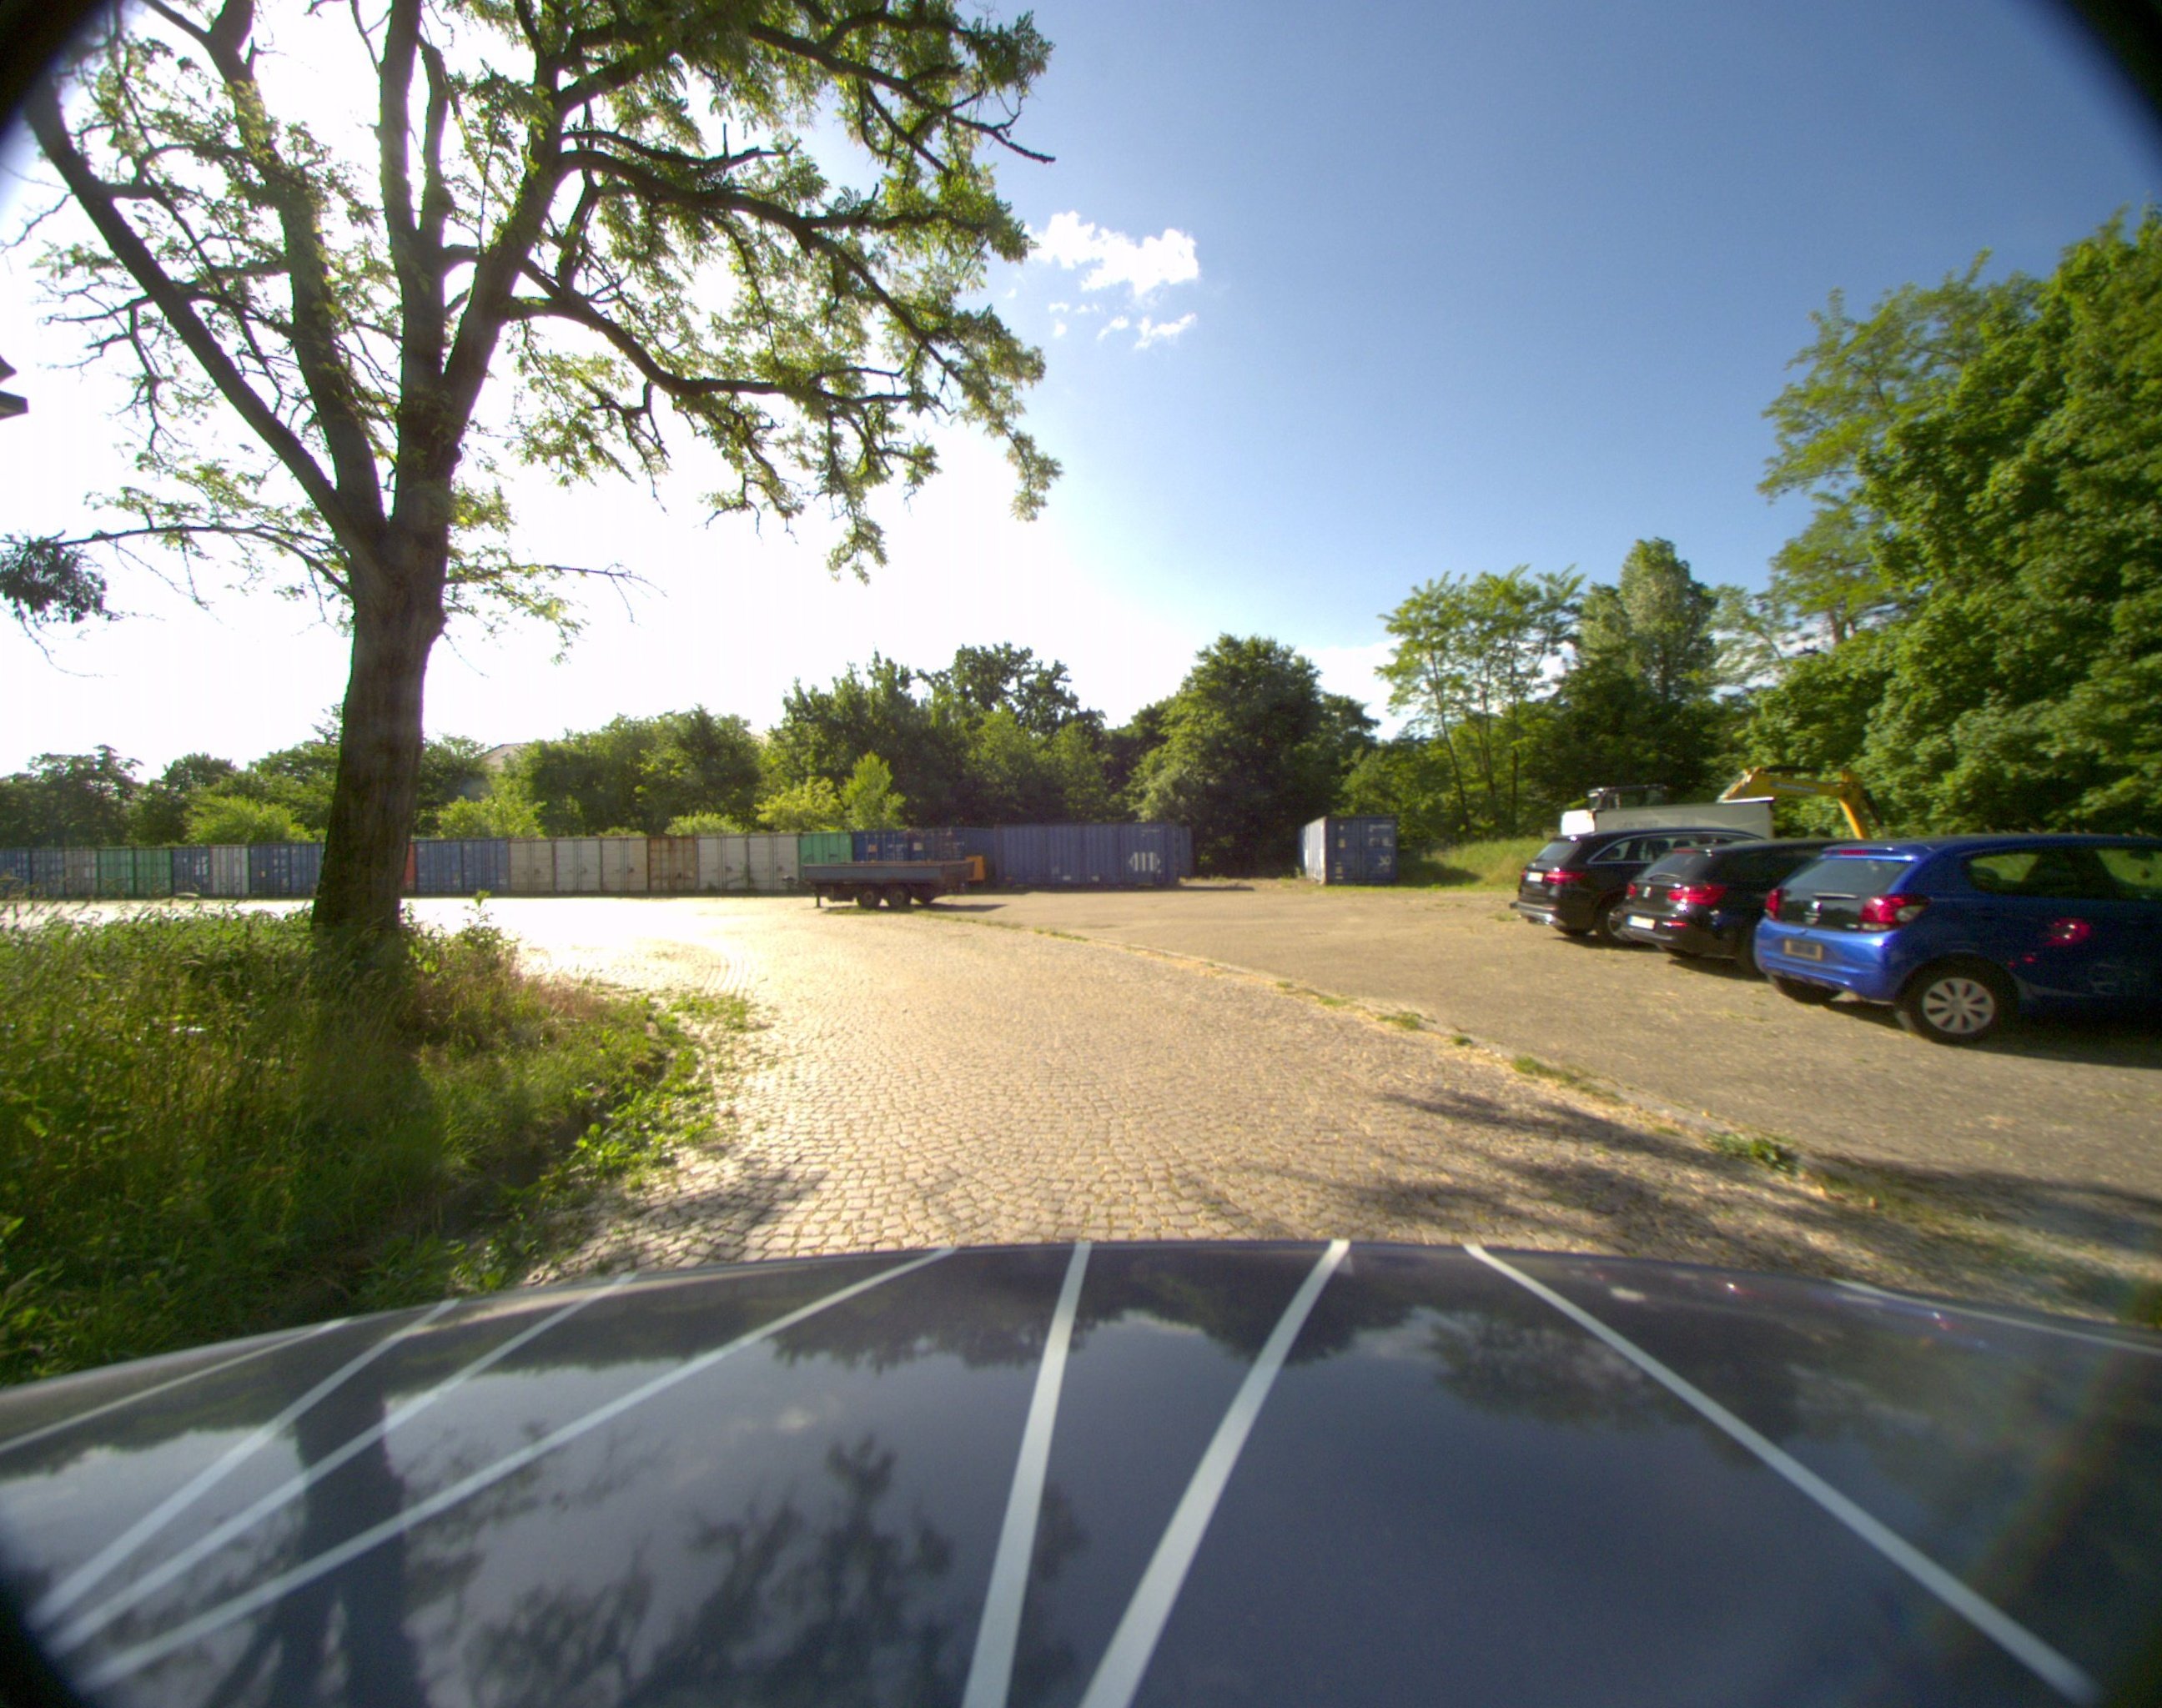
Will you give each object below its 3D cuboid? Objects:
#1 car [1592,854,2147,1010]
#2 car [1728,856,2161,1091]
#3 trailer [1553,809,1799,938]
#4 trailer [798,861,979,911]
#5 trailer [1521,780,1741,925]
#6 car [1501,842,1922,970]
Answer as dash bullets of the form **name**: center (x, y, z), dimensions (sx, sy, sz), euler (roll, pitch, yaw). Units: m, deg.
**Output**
- **car**: center (8.132, 0.775, 8.297), dimensions (3.783, 1.403, 1.897), euler (-2, 1, 12)
- **car**: center (7.631, 0.798, 5.728), dimensions (3.783, 1.450, 1.787), euler (-2, 1, 13)
- **trailer**: center (10.171, 0.330, 13.231), dimensions (2.845, 2.039, 1.826), euler (-2, 1, 14)
- **trailer**: center (-6.021, 0.974, 24.116), dimensions (4.853, 1.406, 2.651), euler (0, 1, 12)
- **trailer**: center (10.957, -0.017, 15.432), dimensions (2.845, 2.524, 2.268), euler (-4, 0, 14)
- **car**: center (8.545, 0.692, 10.750), dimensions (4.124, 1.580, 1.972), euler (-2, 1, 12)
